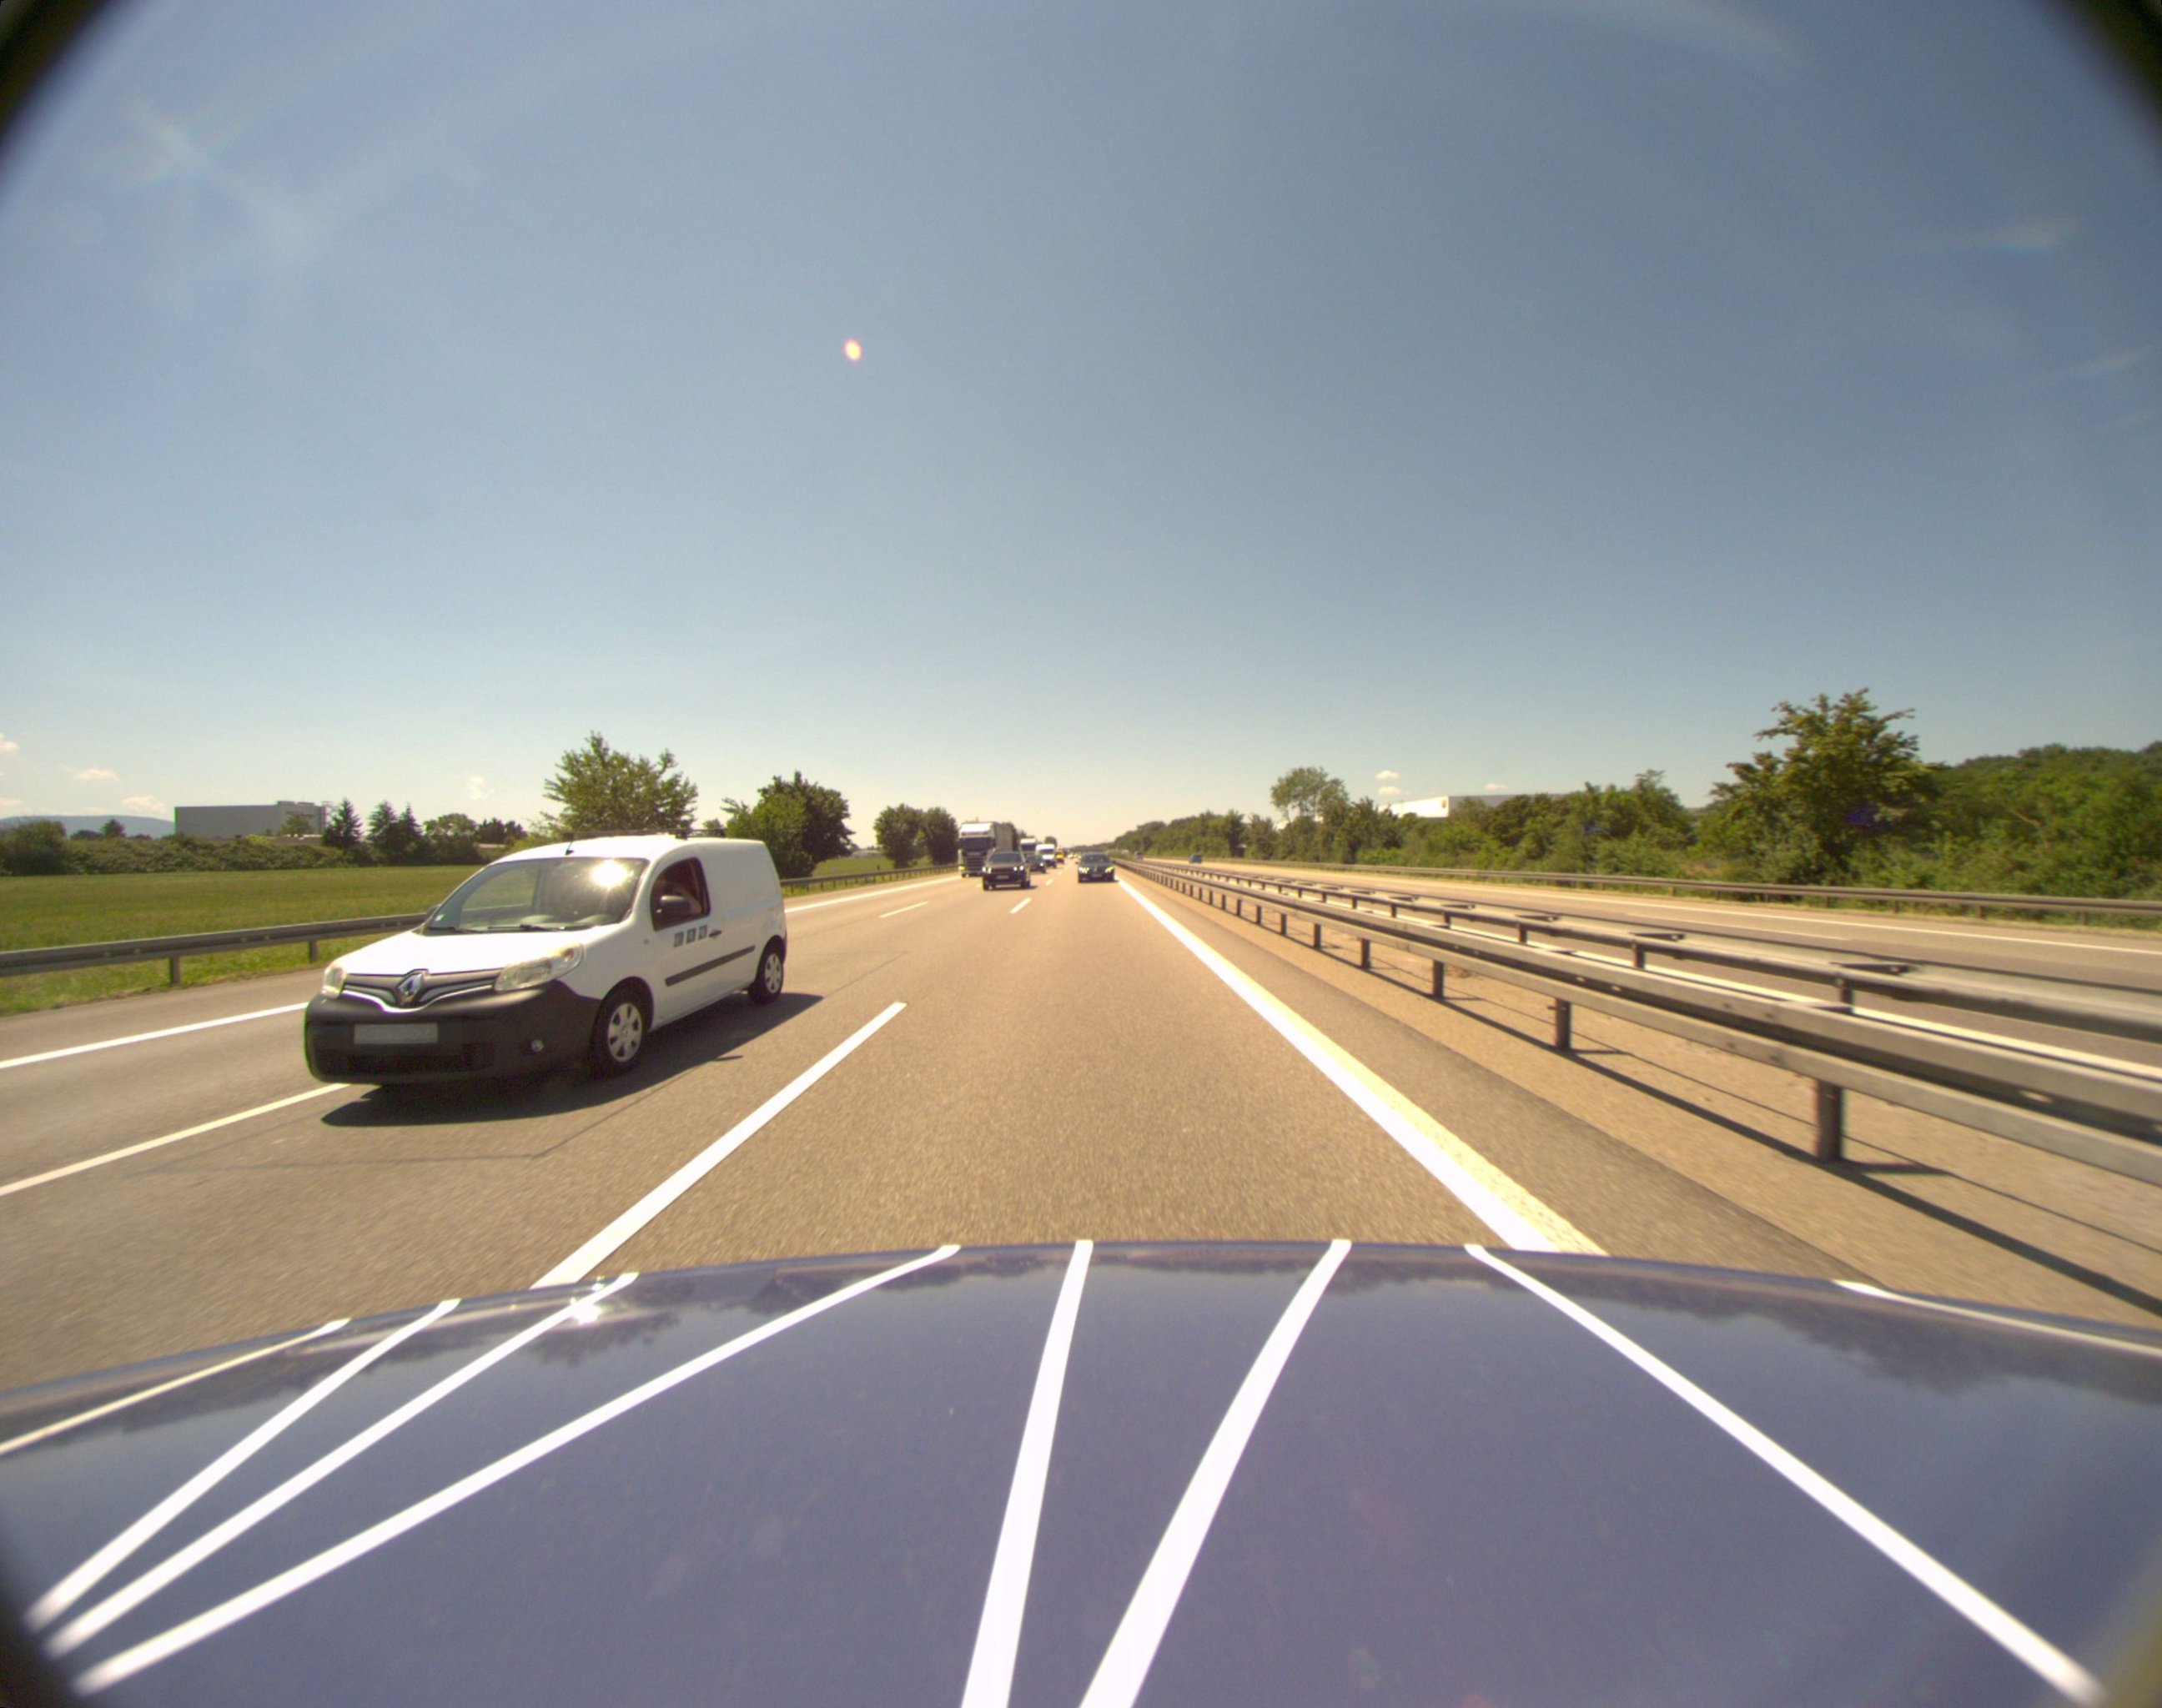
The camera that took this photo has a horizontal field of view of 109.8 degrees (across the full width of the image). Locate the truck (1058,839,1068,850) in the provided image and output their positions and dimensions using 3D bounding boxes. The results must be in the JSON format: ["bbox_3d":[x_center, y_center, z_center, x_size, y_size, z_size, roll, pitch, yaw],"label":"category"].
[{"bbox_3d":[-6.196,-3.407,262.039,2.976,3.626,7.148,-2,0,-2],"label":"truck"}]

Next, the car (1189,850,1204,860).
[{"bbox_3d":[17.438,0.109,114.980,1.568,1.416,3.470,1,1,-2],"label":"car"}]

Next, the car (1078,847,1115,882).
[{"bbox_3d":[0.785,0.505,38.482,1.690,1.646,3.462,-2,0,1],"label":"car"}]

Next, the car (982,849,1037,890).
[{"bbox_3d":[-3.173,0.653,34.702,1.871,1.665,4.746,-2,0,2],"label":"car"}]

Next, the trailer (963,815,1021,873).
[{"bbox_3d":[-7.323,-0.838,64.870,2.817,4.279,14.254,-2,0,1],"label":"trailer"}]

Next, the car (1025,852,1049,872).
[{"bbox_3d":[-3.364,0.586,58.571,1.692,1.465,3.432,-2,0,-1],"label":"car"}]

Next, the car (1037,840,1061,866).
[{"bbox_3d":[-3.263,-0.089,78.235,2.159,2.494,5.945,-2,0,0],"label":"car"}]

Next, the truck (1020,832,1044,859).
[{"bbox_3d":[-7.427,-1.286,117.018,2.699,3.943,7.704,-2,0,3],"label":"truck"}]

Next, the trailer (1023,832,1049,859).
[{"bbox_3d":[-7.157,-1.305,122.800,2.699,3.943,13.963,-2,0,3],"label":"trailer"}]

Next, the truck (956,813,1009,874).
[{"bbox_3d":[-7.471,-0.791,58.398,2.817,4.279,7.193,-2,1,1],"label":"truck"}]

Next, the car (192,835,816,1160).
[{"bbox_3d":[-4.218,0.834,6.828,1.857,1.852,4.702,-2,0,1],"label":"car"}]

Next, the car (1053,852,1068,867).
[{"bbox_3d":[-2.771,0.675,104.913,1.958,1.939,3.999,-2,0,0],"label":"car"}]

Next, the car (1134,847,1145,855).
[{"bbox_3d":[13.928,-0.748,181.127,2.046,1.913,5.226,1,0,0],"label":"car"}]
